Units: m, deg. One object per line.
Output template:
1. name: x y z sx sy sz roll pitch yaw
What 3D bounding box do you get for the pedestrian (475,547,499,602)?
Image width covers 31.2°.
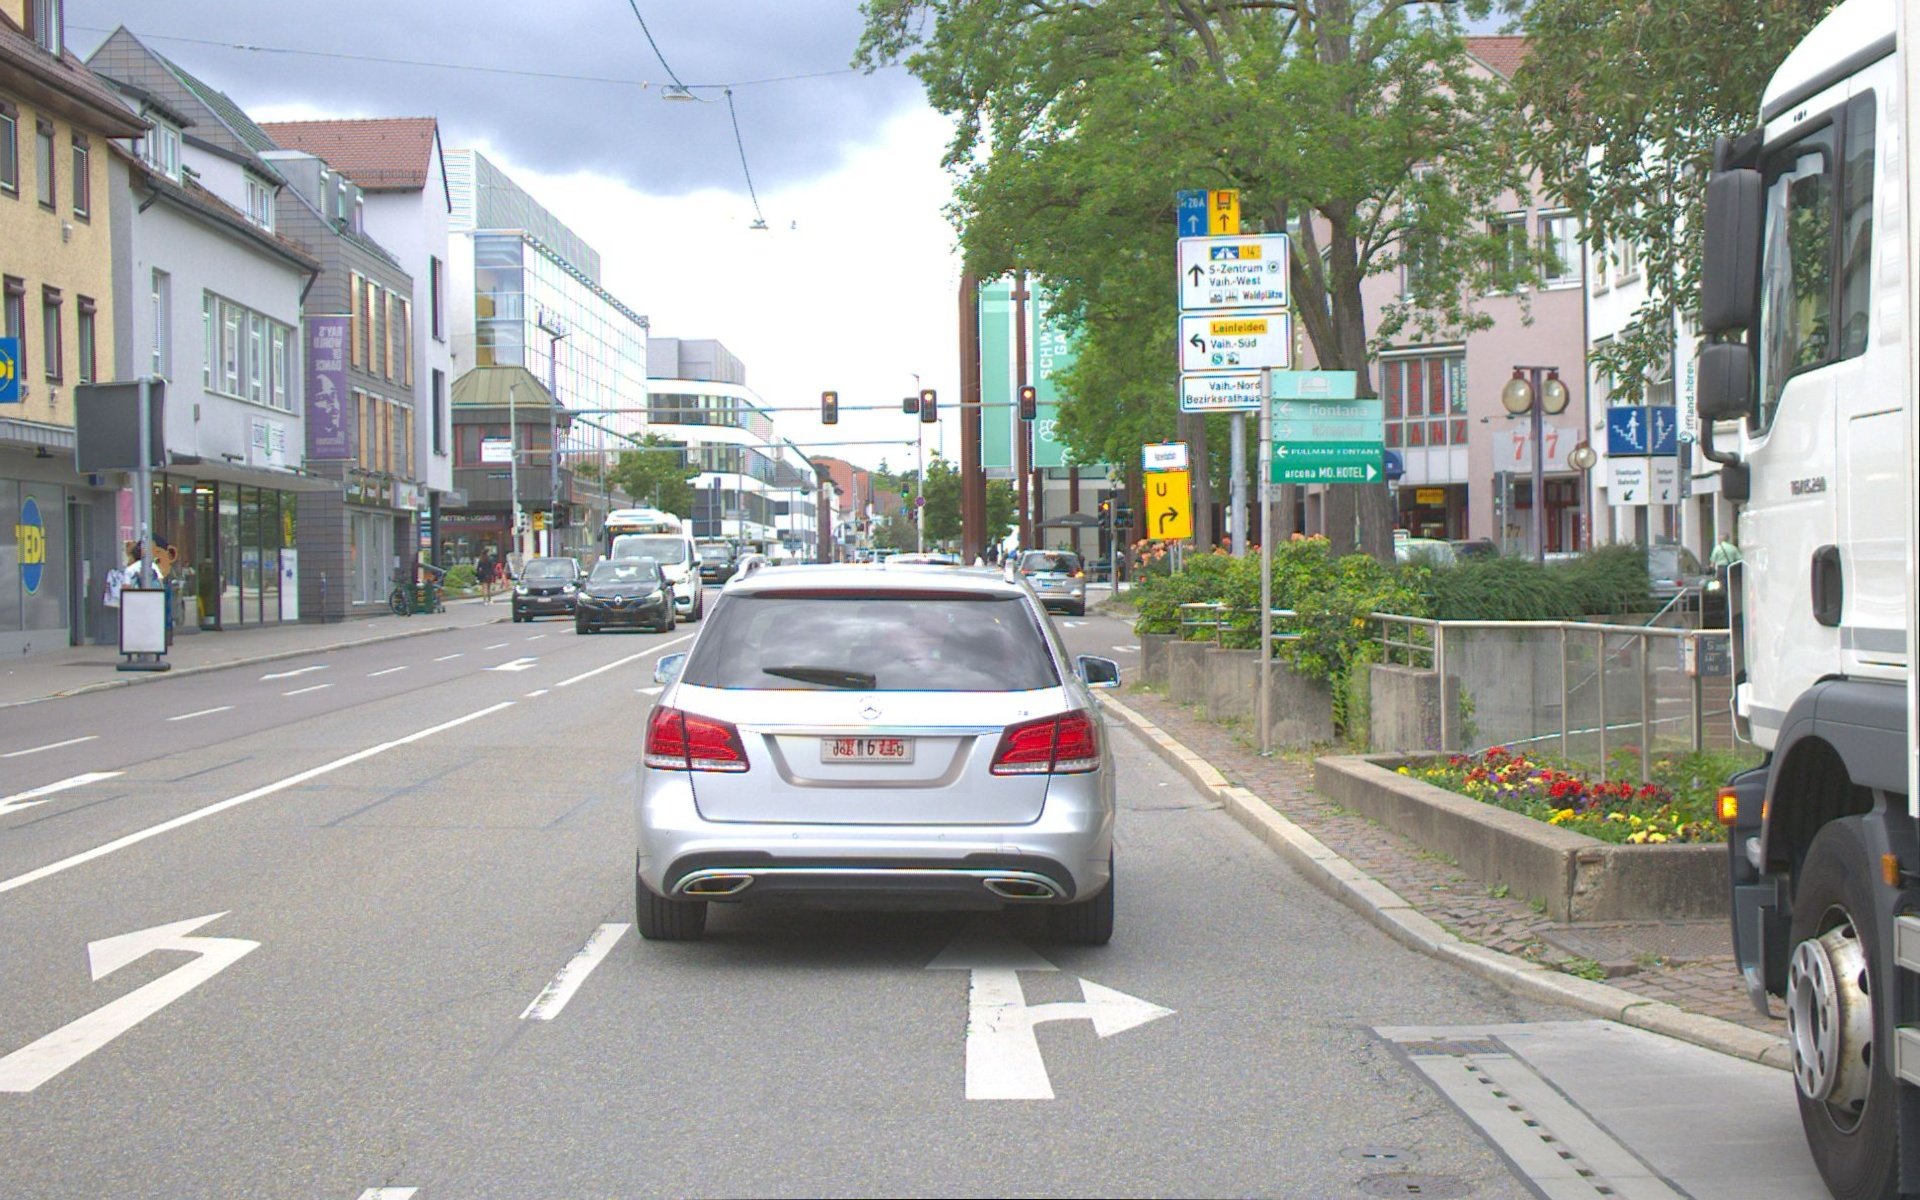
1. pedestrian: -14.226 -0.767 103.438 0.586 1.629 0.615 2 1 -3

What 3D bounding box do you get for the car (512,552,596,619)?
1. car: -9.827 -0.369 83.431 1.617 1.518 3.508 -2 1 -1

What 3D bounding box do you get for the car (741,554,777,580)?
1. car: -10.006 -1.652 171.026 1.575 1.240 3.606 -1 1 0

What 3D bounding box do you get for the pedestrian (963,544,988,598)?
1. pedestrian: 0.466 -0.883 104.928 0.613 1.629 0.588 2 1 -9

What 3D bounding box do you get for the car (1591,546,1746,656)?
1. car: 12.390 -0.016 60.314 1.866 1.858 4.000 -1 1 0

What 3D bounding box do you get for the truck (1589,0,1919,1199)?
1. truck: 3.110 -0.436 4.352 2.688 3.549 9.767 -1 1 -1

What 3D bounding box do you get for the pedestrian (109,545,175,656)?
1. pedestrian: -12.264 0.002 51.566 0.816 1.629 0.980 1 1 -6

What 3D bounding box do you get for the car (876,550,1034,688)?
1. car: -0.074 0.204 40.499 1.754 1.515 4.000 -1 0 0

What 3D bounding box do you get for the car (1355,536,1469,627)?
1. car: 9.578 -0.417 73.110 1.866 1.858 4.000 -1 1 0

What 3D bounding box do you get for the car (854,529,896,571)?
1. car: -4.109 -2.432 167.411 1.993 2.007 4.000 -1 1 -1

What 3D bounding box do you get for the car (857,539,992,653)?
1. car: -0.541 -0.090 53.531 1.993 1.678 4.000 -1 1 0

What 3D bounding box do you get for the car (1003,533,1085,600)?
1. car: 2.156 -0.885 89.240 1.993 1.678 4.000 -1 1 0

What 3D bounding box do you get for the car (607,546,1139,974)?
1. car: -0.389 0.540 14.120 1.874 1.501 4.000 0 1 -2

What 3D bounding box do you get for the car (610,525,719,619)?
1. car: -6.533 -0.636 76.462 1.961 1.954 5.140 -2 1 -1

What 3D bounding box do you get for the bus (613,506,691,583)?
1. bus: -13.004 -2.360 145.579 2.775 3.154 5.933 -1 1 0

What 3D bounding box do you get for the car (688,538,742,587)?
1. car: -10.262 -1.602 144.296 1.993 2.007 4.000 -1 1 0

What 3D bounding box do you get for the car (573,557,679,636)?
1. car: -6.429 -0.092 66.493 1.617 1.423 3.923 -1 1 0
